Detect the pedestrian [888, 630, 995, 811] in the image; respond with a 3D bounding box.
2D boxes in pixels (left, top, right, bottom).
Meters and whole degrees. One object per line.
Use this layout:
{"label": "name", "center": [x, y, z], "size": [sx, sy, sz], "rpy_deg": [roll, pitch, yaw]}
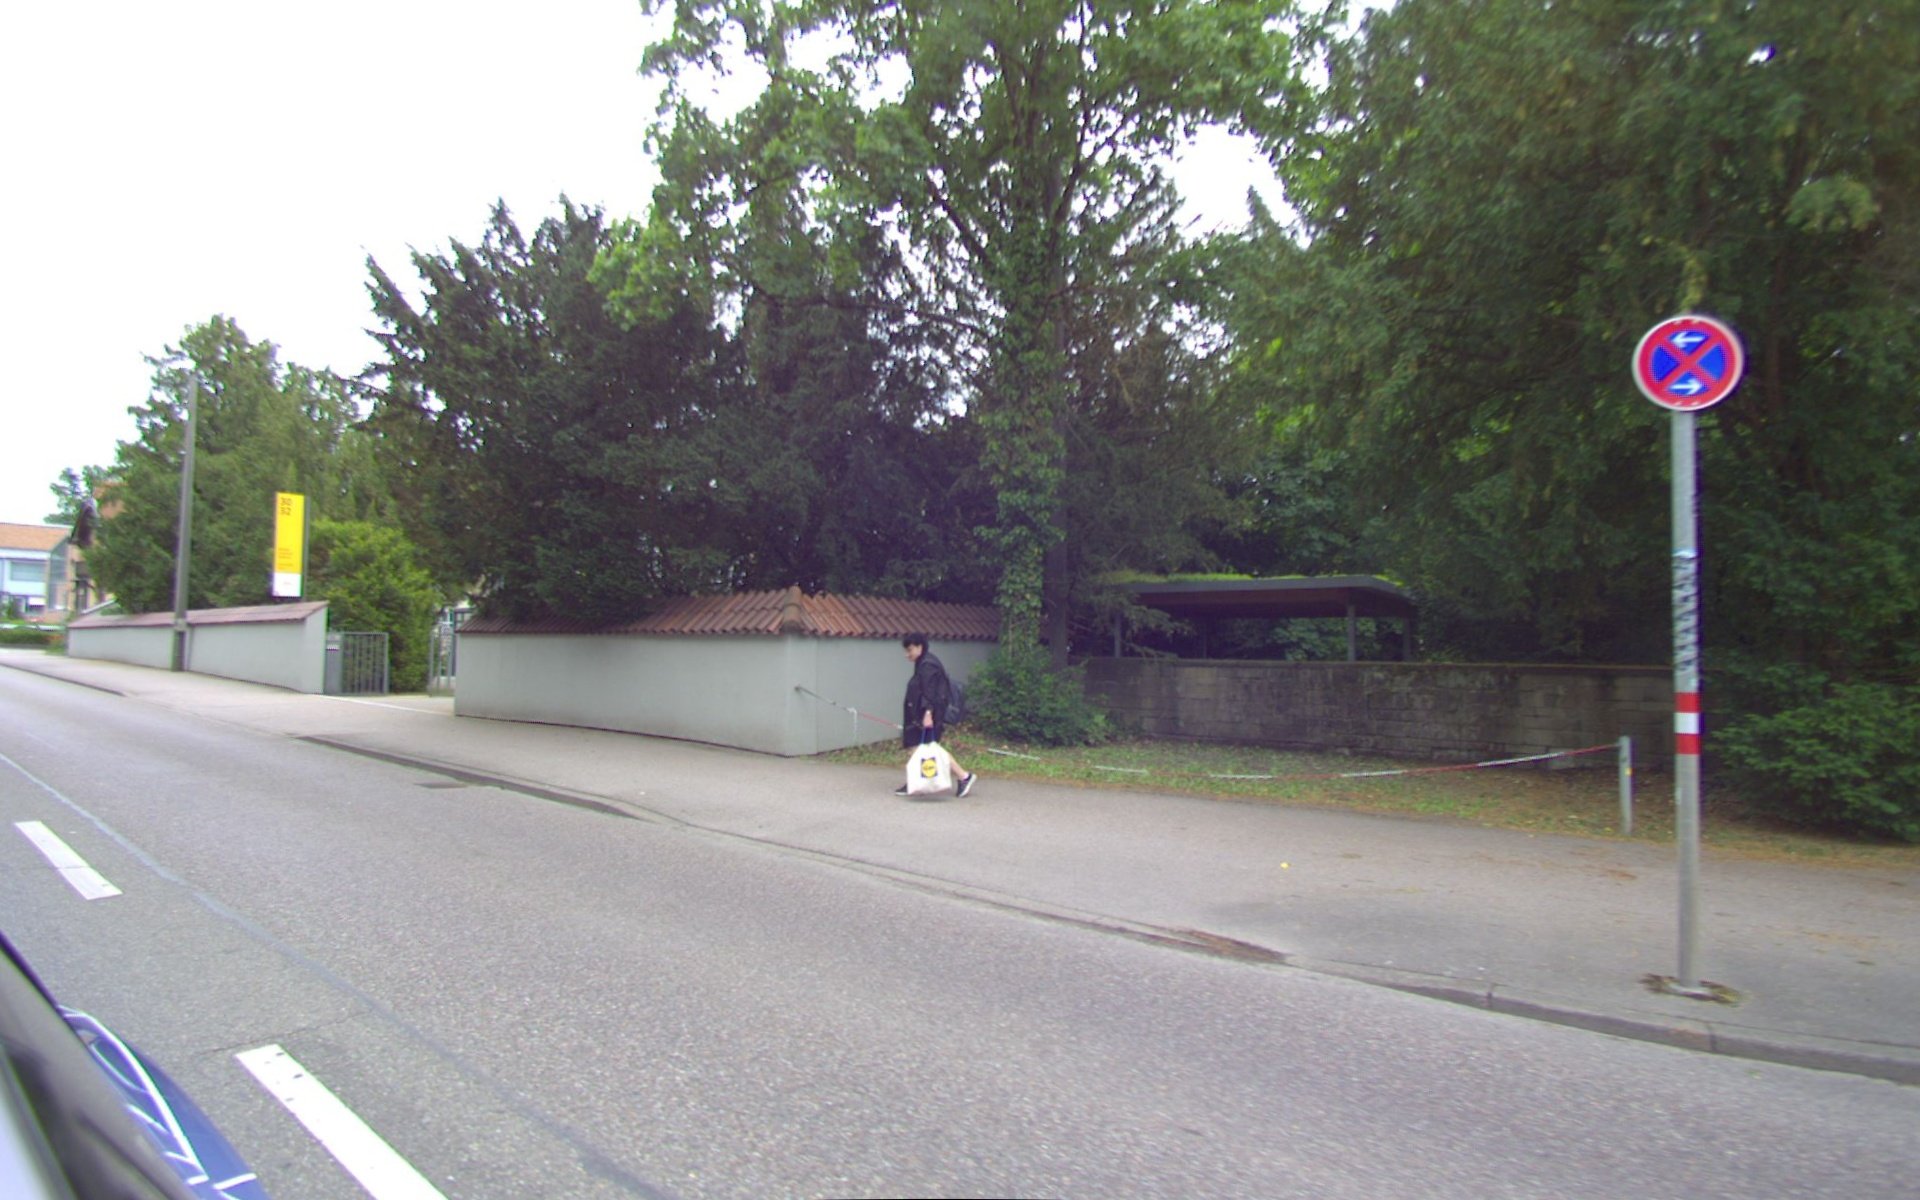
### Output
{"label": "pedestrian", "center": [-0.190, 1.069, 9.396], "size": [0.888, 1.572, 0.930], "rpy_deg": [0, -1, -7]}
